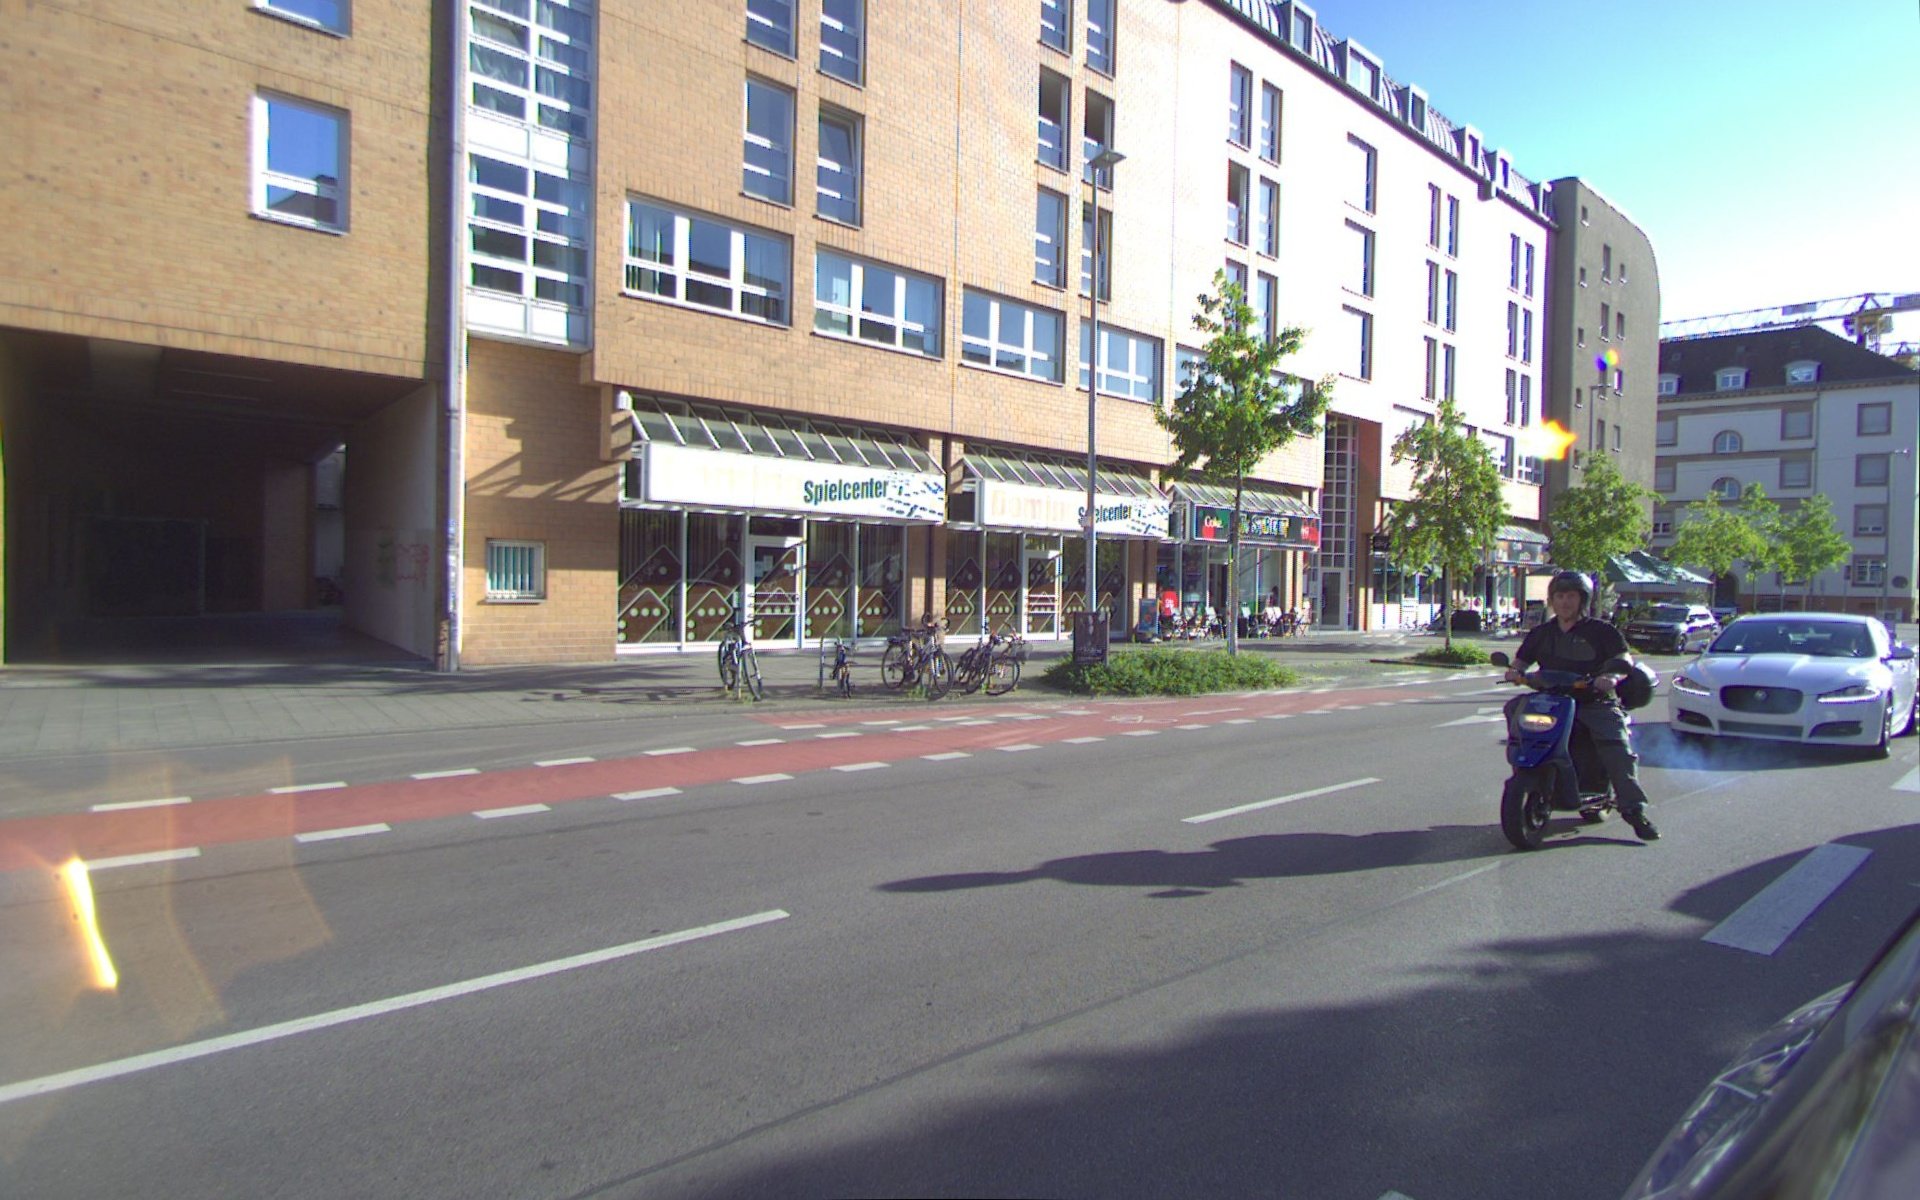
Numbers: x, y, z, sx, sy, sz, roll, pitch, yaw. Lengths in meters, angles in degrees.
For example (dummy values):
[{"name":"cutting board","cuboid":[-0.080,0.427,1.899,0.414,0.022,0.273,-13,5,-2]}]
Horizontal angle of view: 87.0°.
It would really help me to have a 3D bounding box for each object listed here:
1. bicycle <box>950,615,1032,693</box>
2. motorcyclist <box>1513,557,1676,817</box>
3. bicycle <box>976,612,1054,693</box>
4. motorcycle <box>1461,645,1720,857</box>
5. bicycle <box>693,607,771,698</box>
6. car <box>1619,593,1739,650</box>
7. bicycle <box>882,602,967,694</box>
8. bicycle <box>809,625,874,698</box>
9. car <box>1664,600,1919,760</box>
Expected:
[{"name":"bicycle","cuboid":[0.455,0.802,15.707,0.440,0.997,1.843,0,3,-26]},{"name":"motorcyclist","cuboid":[4.181,0.529,6.685,0.520,1.600,0.797,0,0,-41]},{"name":"bicycle","cuboid":[0.834,0.795,15.908,0.343,1.069,1.843,0,3,-26]},{"name":"motorcycle","cuboid":[4.261,0.893,6.744,2.334,1.064,0.805,-1,0,-41]},{"name":"bicycle","cuboid":[-3.233,0.699,14.232,0.423,1.089,1.776,0,4,-35]},{"name":"car","cuboid":[23.658,0.671,33.286,3.921,1.659,1.782,1,3,-33]},{"name":"bicycle","cuboid":[-0.563,0.681,15.214,0.553,1.177,1.843,0,3,-26]},{"name":"bicycle","cuboid":[-1.748,0.864,14.719,0.359,0.842,1.779,0,3,-26]},{"name":"car","cuboid":[9.743,0.749,11.590,4.376,1.448,1.806,0,1,-42]}]
